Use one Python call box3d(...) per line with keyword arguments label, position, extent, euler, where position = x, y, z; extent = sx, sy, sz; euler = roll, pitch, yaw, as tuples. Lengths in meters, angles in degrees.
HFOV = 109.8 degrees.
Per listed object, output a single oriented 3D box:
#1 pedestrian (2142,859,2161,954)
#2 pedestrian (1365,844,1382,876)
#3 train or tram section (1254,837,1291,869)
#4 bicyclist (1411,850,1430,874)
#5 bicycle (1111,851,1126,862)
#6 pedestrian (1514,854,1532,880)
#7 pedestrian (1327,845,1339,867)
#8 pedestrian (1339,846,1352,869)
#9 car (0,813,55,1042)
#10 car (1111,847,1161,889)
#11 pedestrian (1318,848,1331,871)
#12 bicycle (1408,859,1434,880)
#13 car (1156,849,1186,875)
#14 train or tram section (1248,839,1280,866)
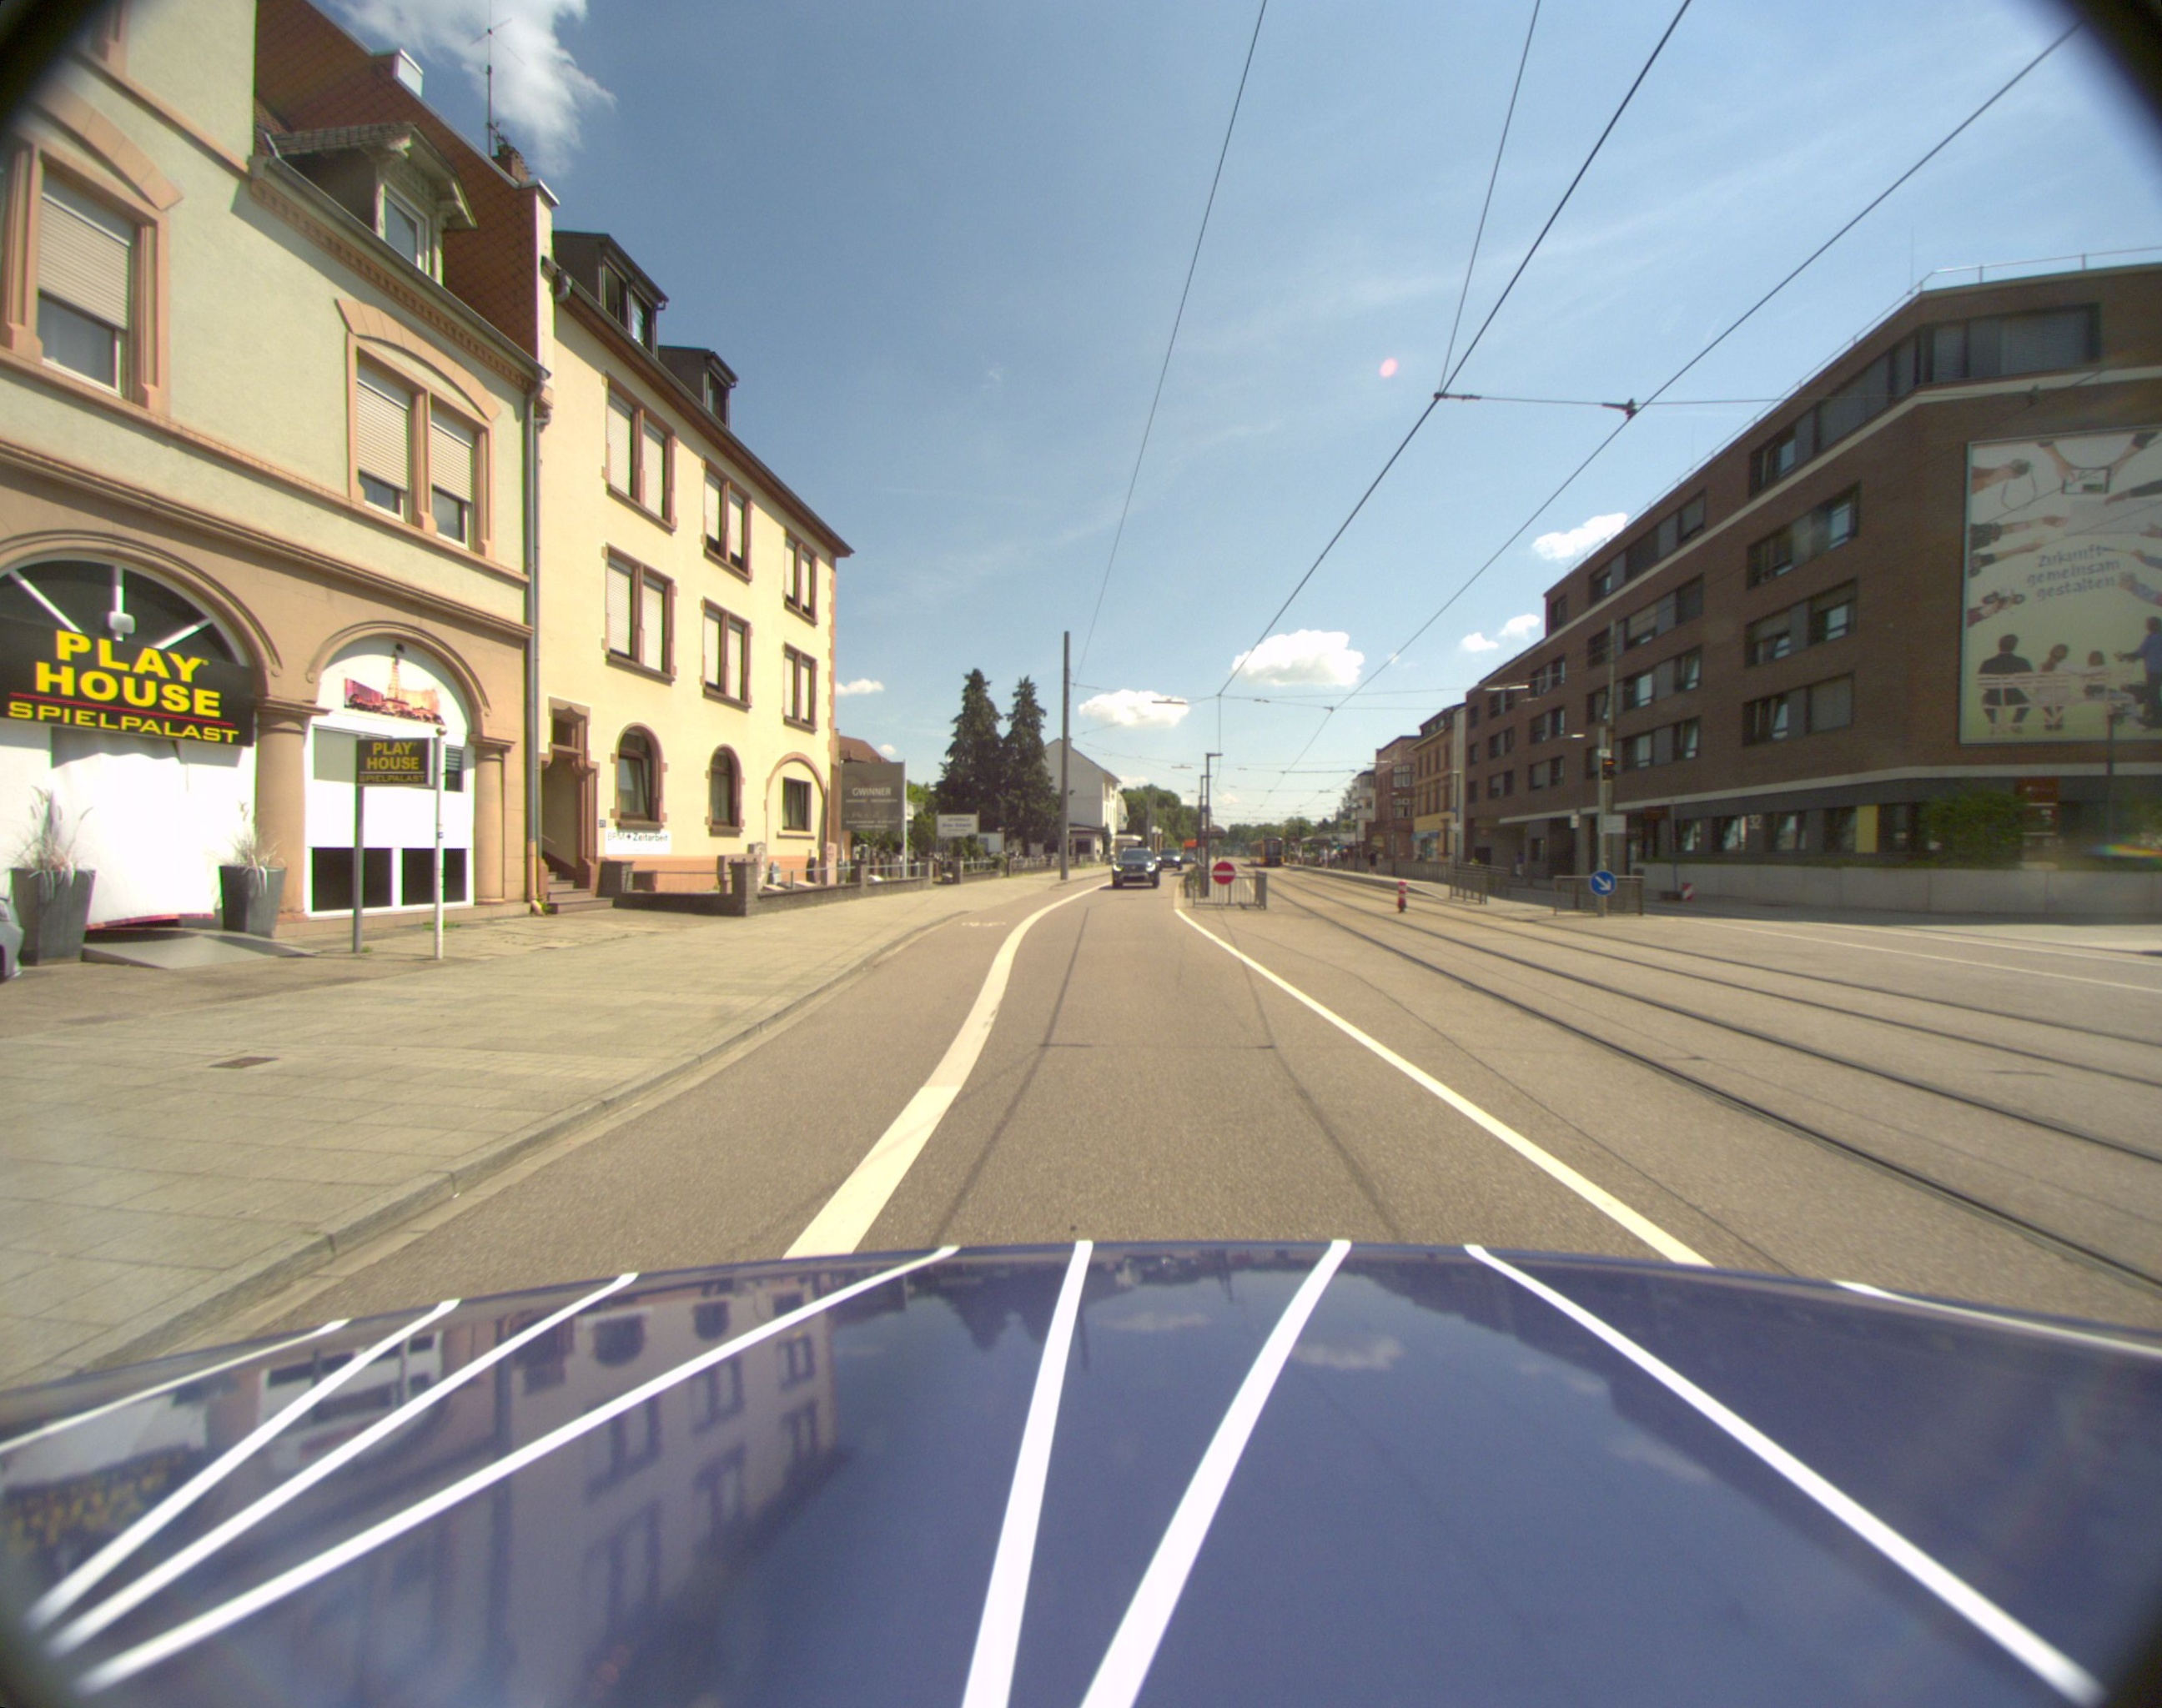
box3d(label="pedestrian", position=(18.511, 0.871, 12.467), extent=(0.761, 1.586, 1.000), euler=(-3, 1, 5))
box3d(label="pedestrian", position=(16.534, 0.329, 42.962), extent=(0.686, 1.750, 1.034), euler=(1, 1, 9))
box3d(label="train or tram section", position=(23.072, -0.217, 92.355), extent=(3.240, 3.547, 16.361), euler=(1, 1, 10))
box3d(label="bicyclist", position=(21.293, 0.486, 47.609), extent=(0.760, 1.495, 1.066), euler=(0, 1, 4))
box3d(label="bicycle", position=(4.142, 0.257, 83.487), extent=(1.534, 1.080, 0.430), euler=(3, 1, 16))
box3d(label="pedestrian", position=(26.983, 0.789, 46.365), extent=(0.686, 1.587, 0.762), euler=(1, 1, 9))
box3d(label="pedestrian", position=(19.380, 0.178, 58.448), extent=(0.761, 1.685, 0.809), euler=(1, 1, 9))
box3d(label="pedestrian", position=(18.168, 0.235, 52.260), extent=(0.686, 1.587, 0.762), euler=(1, 1, 9))
box3d(label="car", position=(-8.761, 0.491, 3.392), extent=(1.882, 1.615, 4.641), euler=(3, 1, 6))
box3d(label="car", position=(2.281, 0.506, 31.181), extent=(1.845, 1.565, 4.488), euler=(1, 1, 5))
box3d(label="pedestrian", position=(18.798, 0.420, 58.703), extent=(0.761, 1.789, 0.952), euler=(1, 1, 9))
box3d(label="bicycle", position=(21.279, 0.964, 47.599), extent=(0.818, 1.215, 2.390), euler=(1, 1, 6))
box3d(label="car", position=(7.046, 0.591, 59.370), extent=(1.997, 2.002, 4.003), euler=(1, 1, 11))
box3d(label="train or tram section", position=(26.359, -0.329, 110.395), extent=(3.256, 3.547, 20.516), euler=(1, 1, 10))
